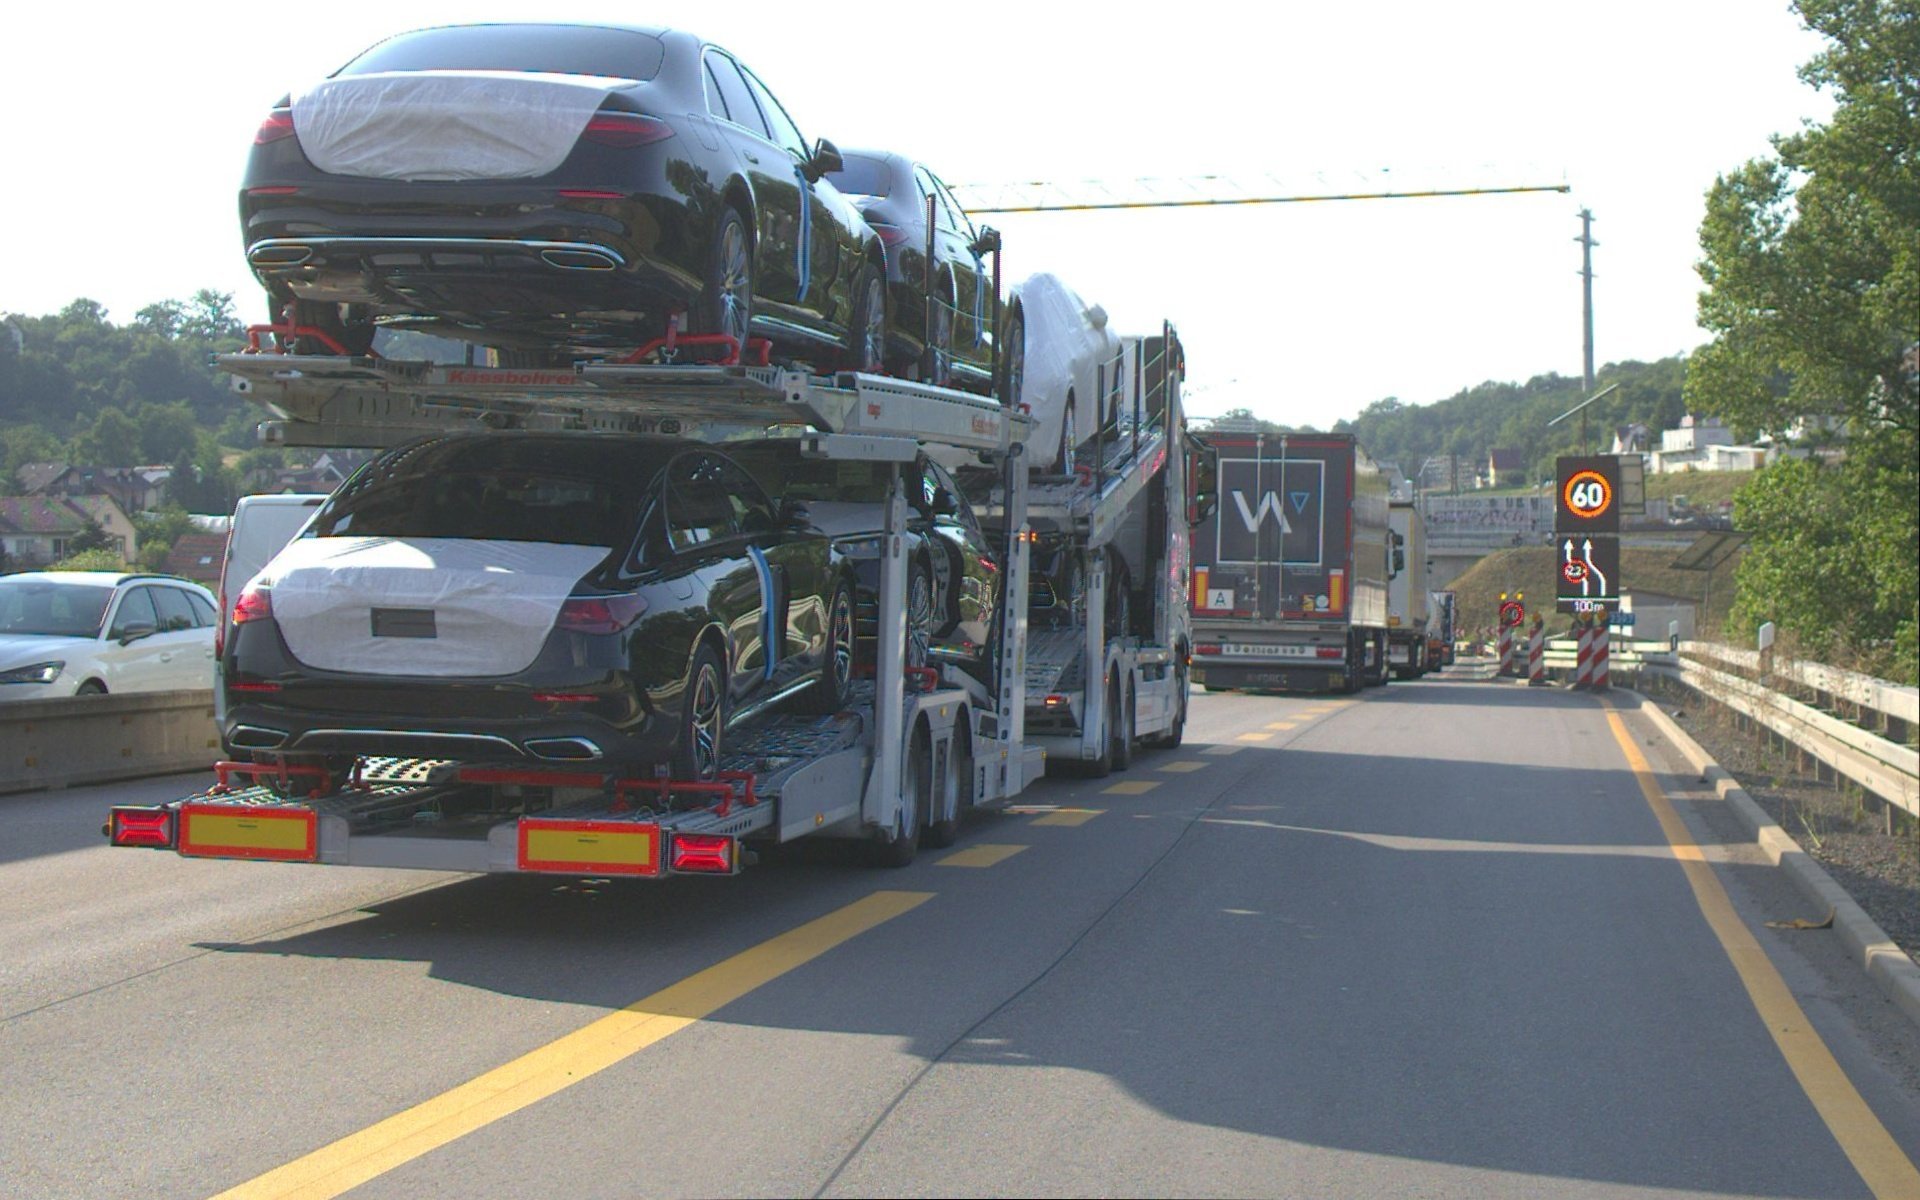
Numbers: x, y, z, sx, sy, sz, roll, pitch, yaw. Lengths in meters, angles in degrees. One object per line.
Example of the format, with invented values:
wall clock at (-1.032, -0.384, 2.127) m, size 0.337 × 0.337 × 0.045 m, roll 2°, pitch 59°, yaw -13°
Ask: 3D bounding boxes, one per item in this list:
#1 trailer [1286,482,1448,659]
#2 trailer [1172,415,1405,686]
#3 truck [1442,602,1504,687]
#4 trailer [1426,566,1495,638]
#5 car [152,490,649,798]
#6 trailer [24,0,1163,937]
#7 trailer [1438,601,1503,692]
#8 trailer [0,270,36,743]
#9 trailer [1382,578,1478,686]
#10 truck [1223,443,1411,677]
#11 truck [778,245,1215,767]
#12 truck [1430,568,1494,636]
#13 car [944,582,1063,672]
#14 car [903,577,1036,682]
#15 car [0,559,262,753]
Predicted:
trailer at (10.192, -0.642, 84.658) m, size 3.386 × 3.983 × 14.739 m, roll 0°, pitch 0°, yaw 9°
trailer at (5.679, -0.721, 57.612) m, size 2.960 × 4.078 × 10.788 m, roll -1°, pitch 0°, yaw 10°
truck at (26.469, 2.250, 177.244) m, size 3.099 × 4.271 × 6.622 m, roll 0°, pitch 0°, yaw 9°
trailer at (31.282, 0.149, 214.505) m, size 4.098 × 4.299 × 14.246 m, roll 0°, pitch 0°, yaw 9°
car at (-3.953, 0.273, 25.306) m, size 2.029 × 1.974 × 4.977 m, roll 2°, pitch 1°, yaw 10°
trailer at (-0.970, -0.713, 20.848) m, size 2.858 × 3.983 × 15.740 m, roll 0°, pitch 0°, yaw 9°
trailer at (25.519, 2.240, 171.398) m, size 3.105 × 4.299 × 14.246 m, roll 0°, pitch 0°, yaw 9°
trailer at (-10.596, -0.792, 23.304) m, size 2.628 × 4.053 × 14.073 m, roll -1°, pitch 0°, yaw 10°
trailer at (18.456, 1.185, 134.332) m, size 3.386 × 3.983 × 14.739 m, roll 0°, pitch 0°, yaw 9°
truck at (6.525, -0.666, 62.057) m, size 2.886 × 3.983 × 6.621 m, roll 0°, pitch 0°, yaw 10°
truck at (0.511, -0.711, 29.765) m, size 2.849 × 3.983 × 6.622 m, roll 0°, pitch 0°, yaw 9°
truck at (32.402, 0.142, 221.670) m, size 4.030 × 4.271 × 6.622 m, roll 0°, pitch 0°, yaw 9°
car at (0.869, 0.516, 66.239) m, size 1.830 × 1.648 × 3.999 m, roll -1°, pitch 0°, yaw 7°
car at (0.205, 0.507, 60.504) m, size 1.830 × 1.746 × 3.999 m, roll -1°, pitch 0°, yaw 7°
car at (-7.032, 0.419, 26.497) m, size 1.908 × 1.361 × 4.452 m, roll -1°, pitch 0°, yaw 7°
